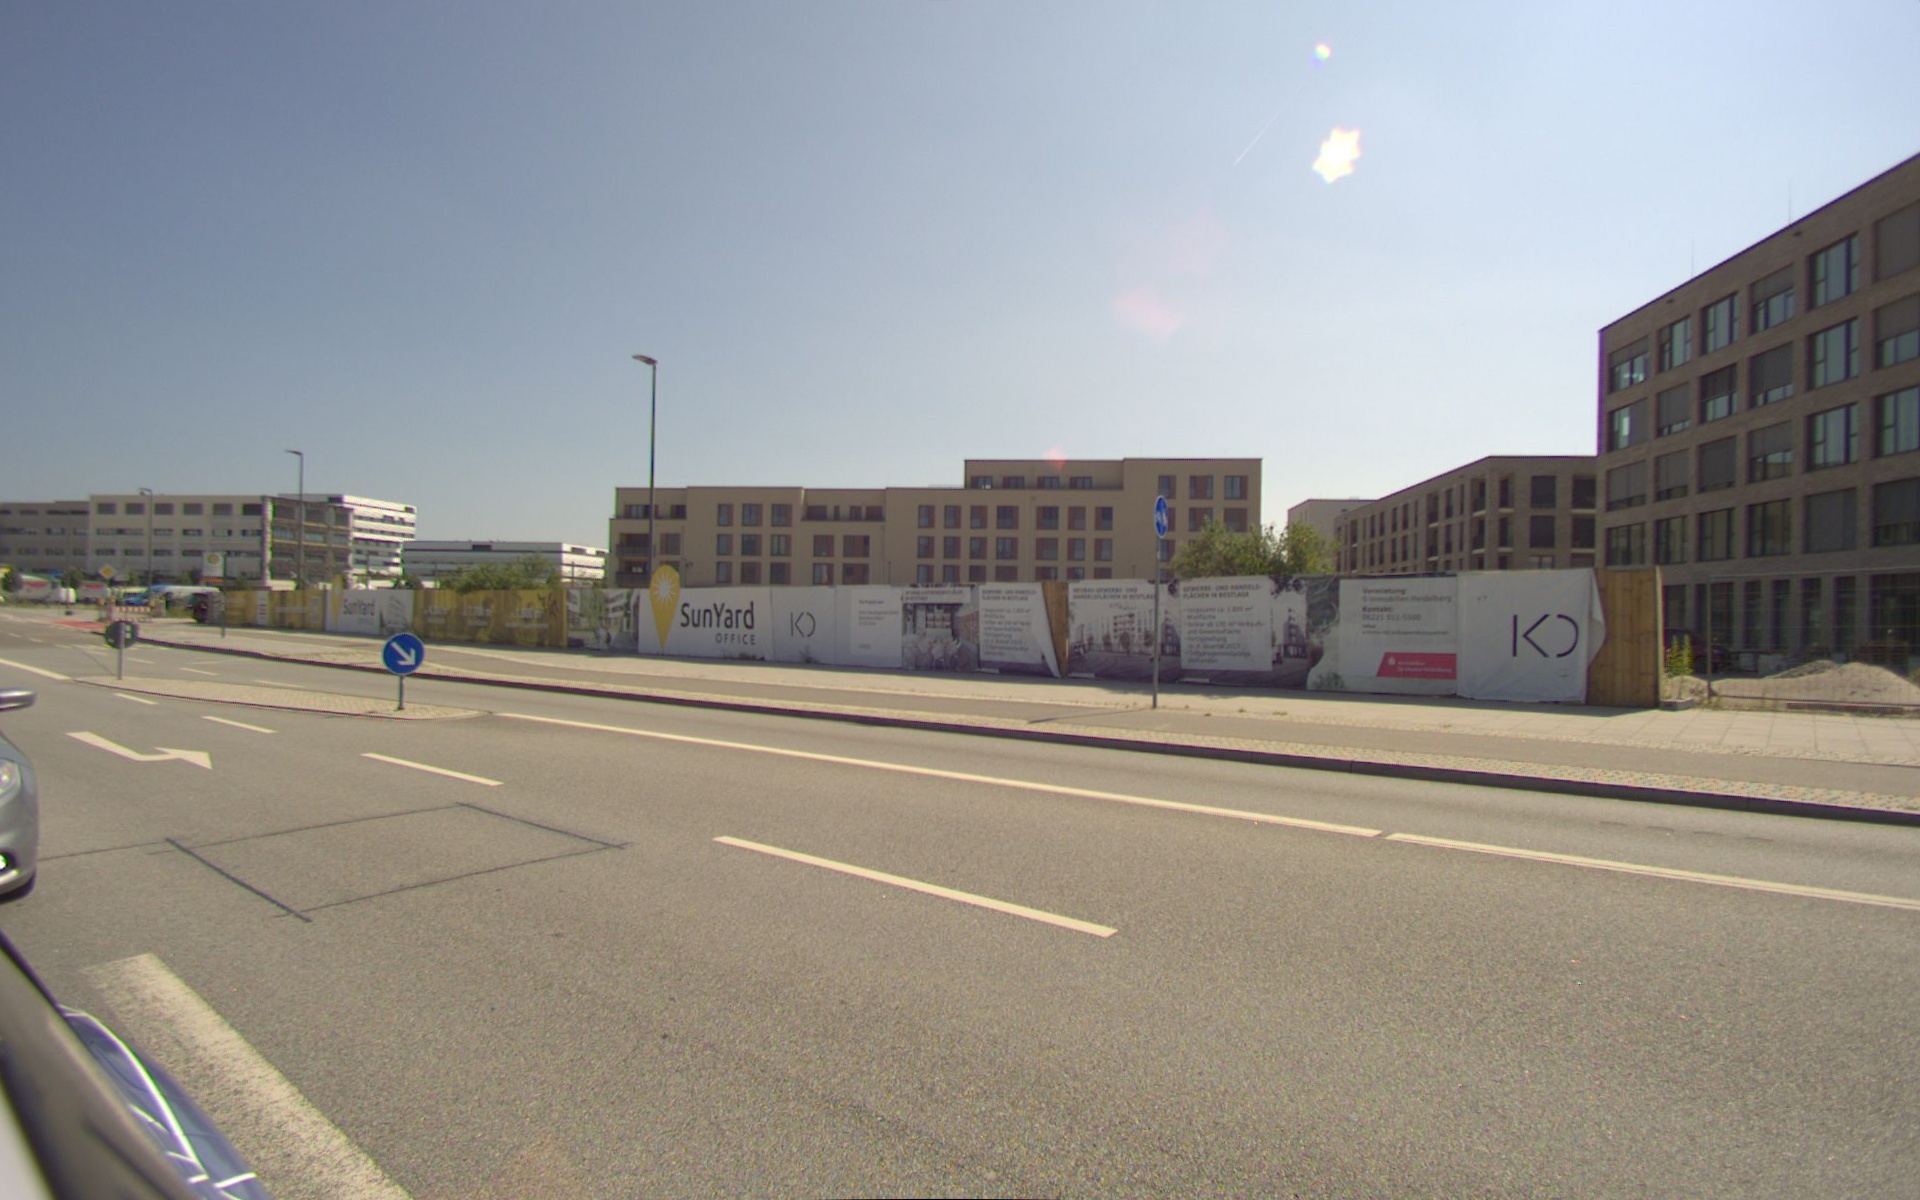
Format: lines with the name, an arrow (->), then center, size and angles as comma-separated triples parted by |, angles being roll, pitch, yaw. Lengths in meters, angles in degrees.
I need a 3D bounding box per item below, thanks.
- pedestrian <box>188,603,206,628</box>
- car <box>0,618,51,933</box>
pedestrian -> -48.942, 0.969, 64.891 | 0.610, 1.598, 0.703 | -1, 0, 5
car -> -6.269, 0.806, 5.306 | 4.134, 1.390, 1.762 | -1, 0, 41
